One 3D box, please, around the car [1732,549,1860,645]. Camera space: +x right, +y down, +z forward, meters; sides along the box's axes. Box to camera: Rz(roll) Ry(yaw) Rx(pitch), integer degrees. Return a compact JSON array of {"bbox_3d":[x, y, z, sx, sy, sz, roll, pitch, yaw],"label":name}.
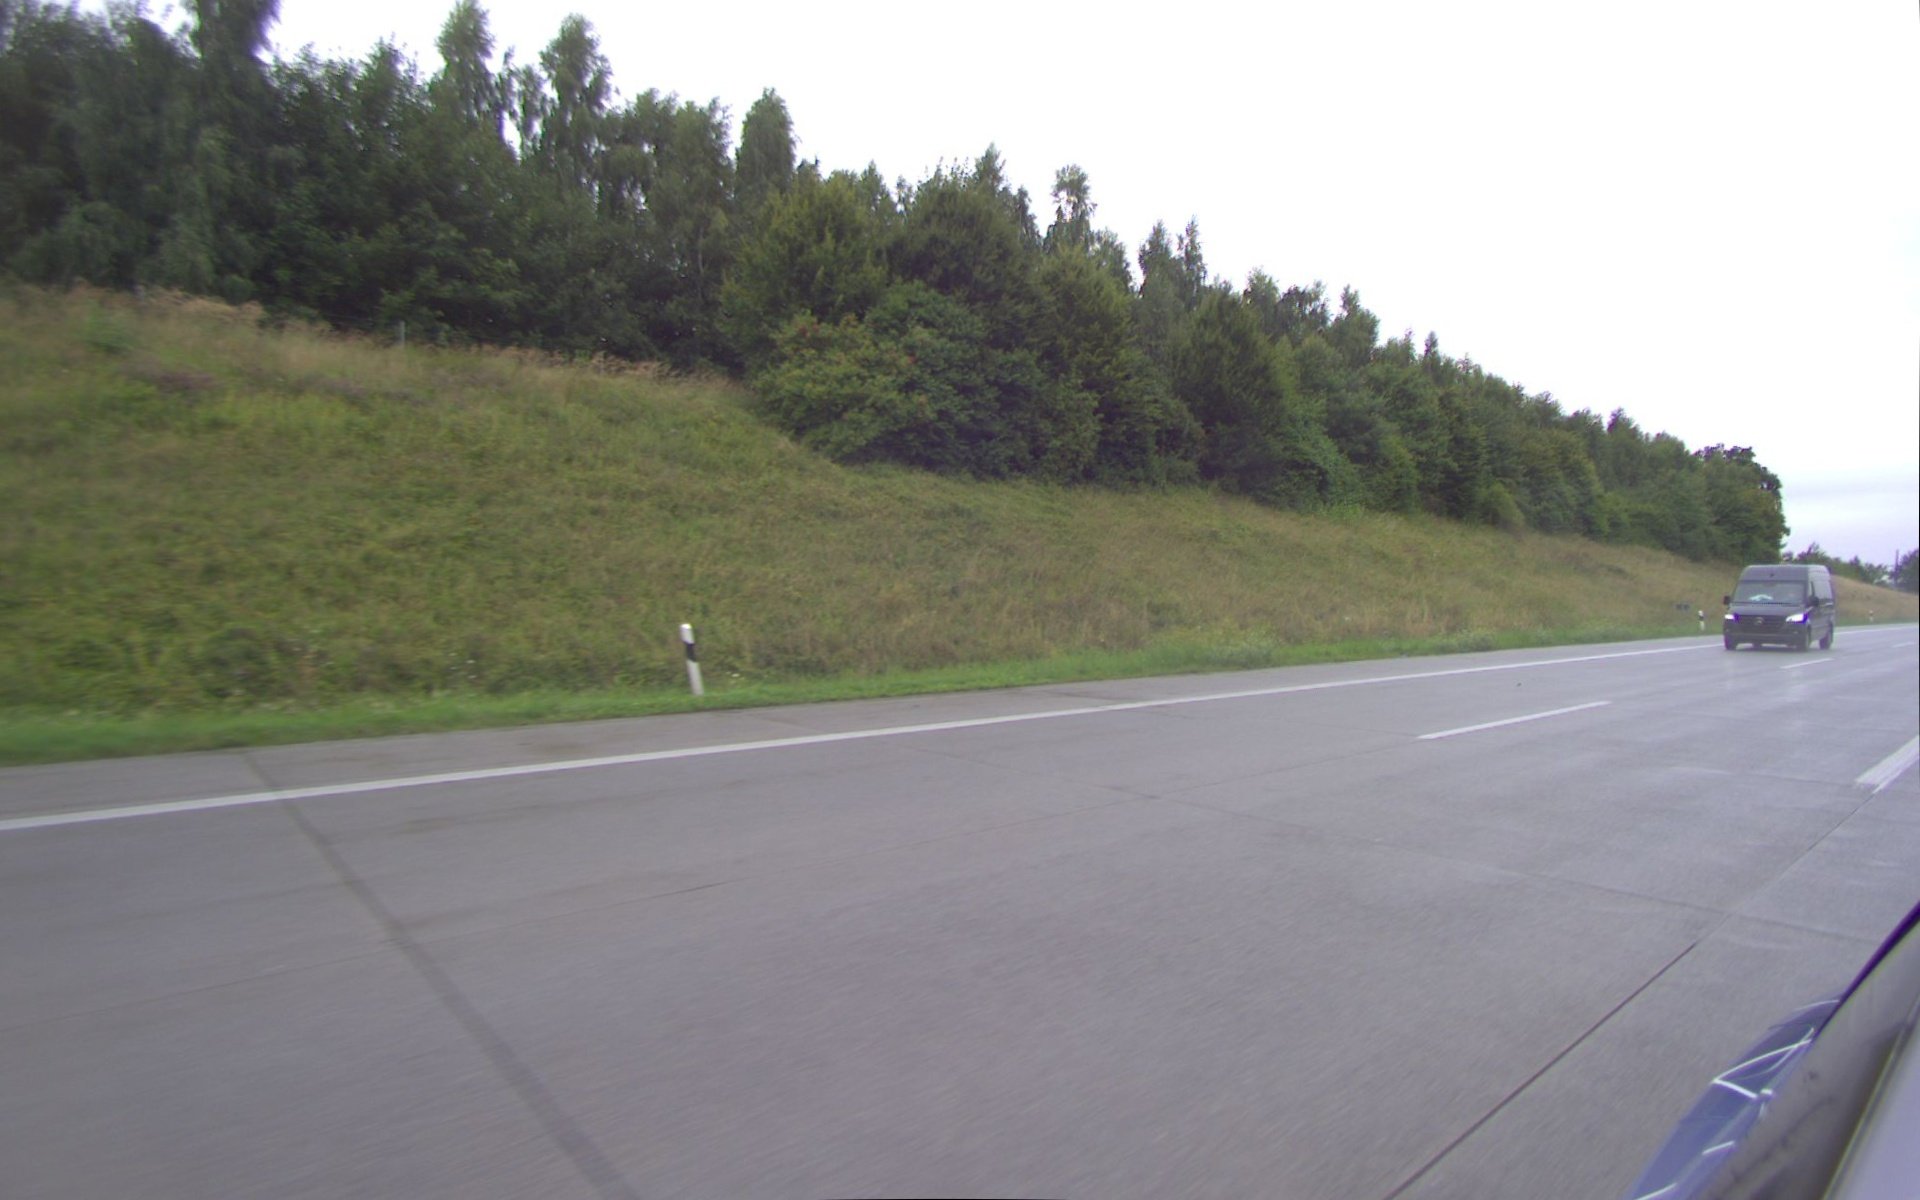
[{"bbox_3d":[26.027,-0.065,31.401,6.468,2.693,1.945,1,0,-40],"label":"car"}]
